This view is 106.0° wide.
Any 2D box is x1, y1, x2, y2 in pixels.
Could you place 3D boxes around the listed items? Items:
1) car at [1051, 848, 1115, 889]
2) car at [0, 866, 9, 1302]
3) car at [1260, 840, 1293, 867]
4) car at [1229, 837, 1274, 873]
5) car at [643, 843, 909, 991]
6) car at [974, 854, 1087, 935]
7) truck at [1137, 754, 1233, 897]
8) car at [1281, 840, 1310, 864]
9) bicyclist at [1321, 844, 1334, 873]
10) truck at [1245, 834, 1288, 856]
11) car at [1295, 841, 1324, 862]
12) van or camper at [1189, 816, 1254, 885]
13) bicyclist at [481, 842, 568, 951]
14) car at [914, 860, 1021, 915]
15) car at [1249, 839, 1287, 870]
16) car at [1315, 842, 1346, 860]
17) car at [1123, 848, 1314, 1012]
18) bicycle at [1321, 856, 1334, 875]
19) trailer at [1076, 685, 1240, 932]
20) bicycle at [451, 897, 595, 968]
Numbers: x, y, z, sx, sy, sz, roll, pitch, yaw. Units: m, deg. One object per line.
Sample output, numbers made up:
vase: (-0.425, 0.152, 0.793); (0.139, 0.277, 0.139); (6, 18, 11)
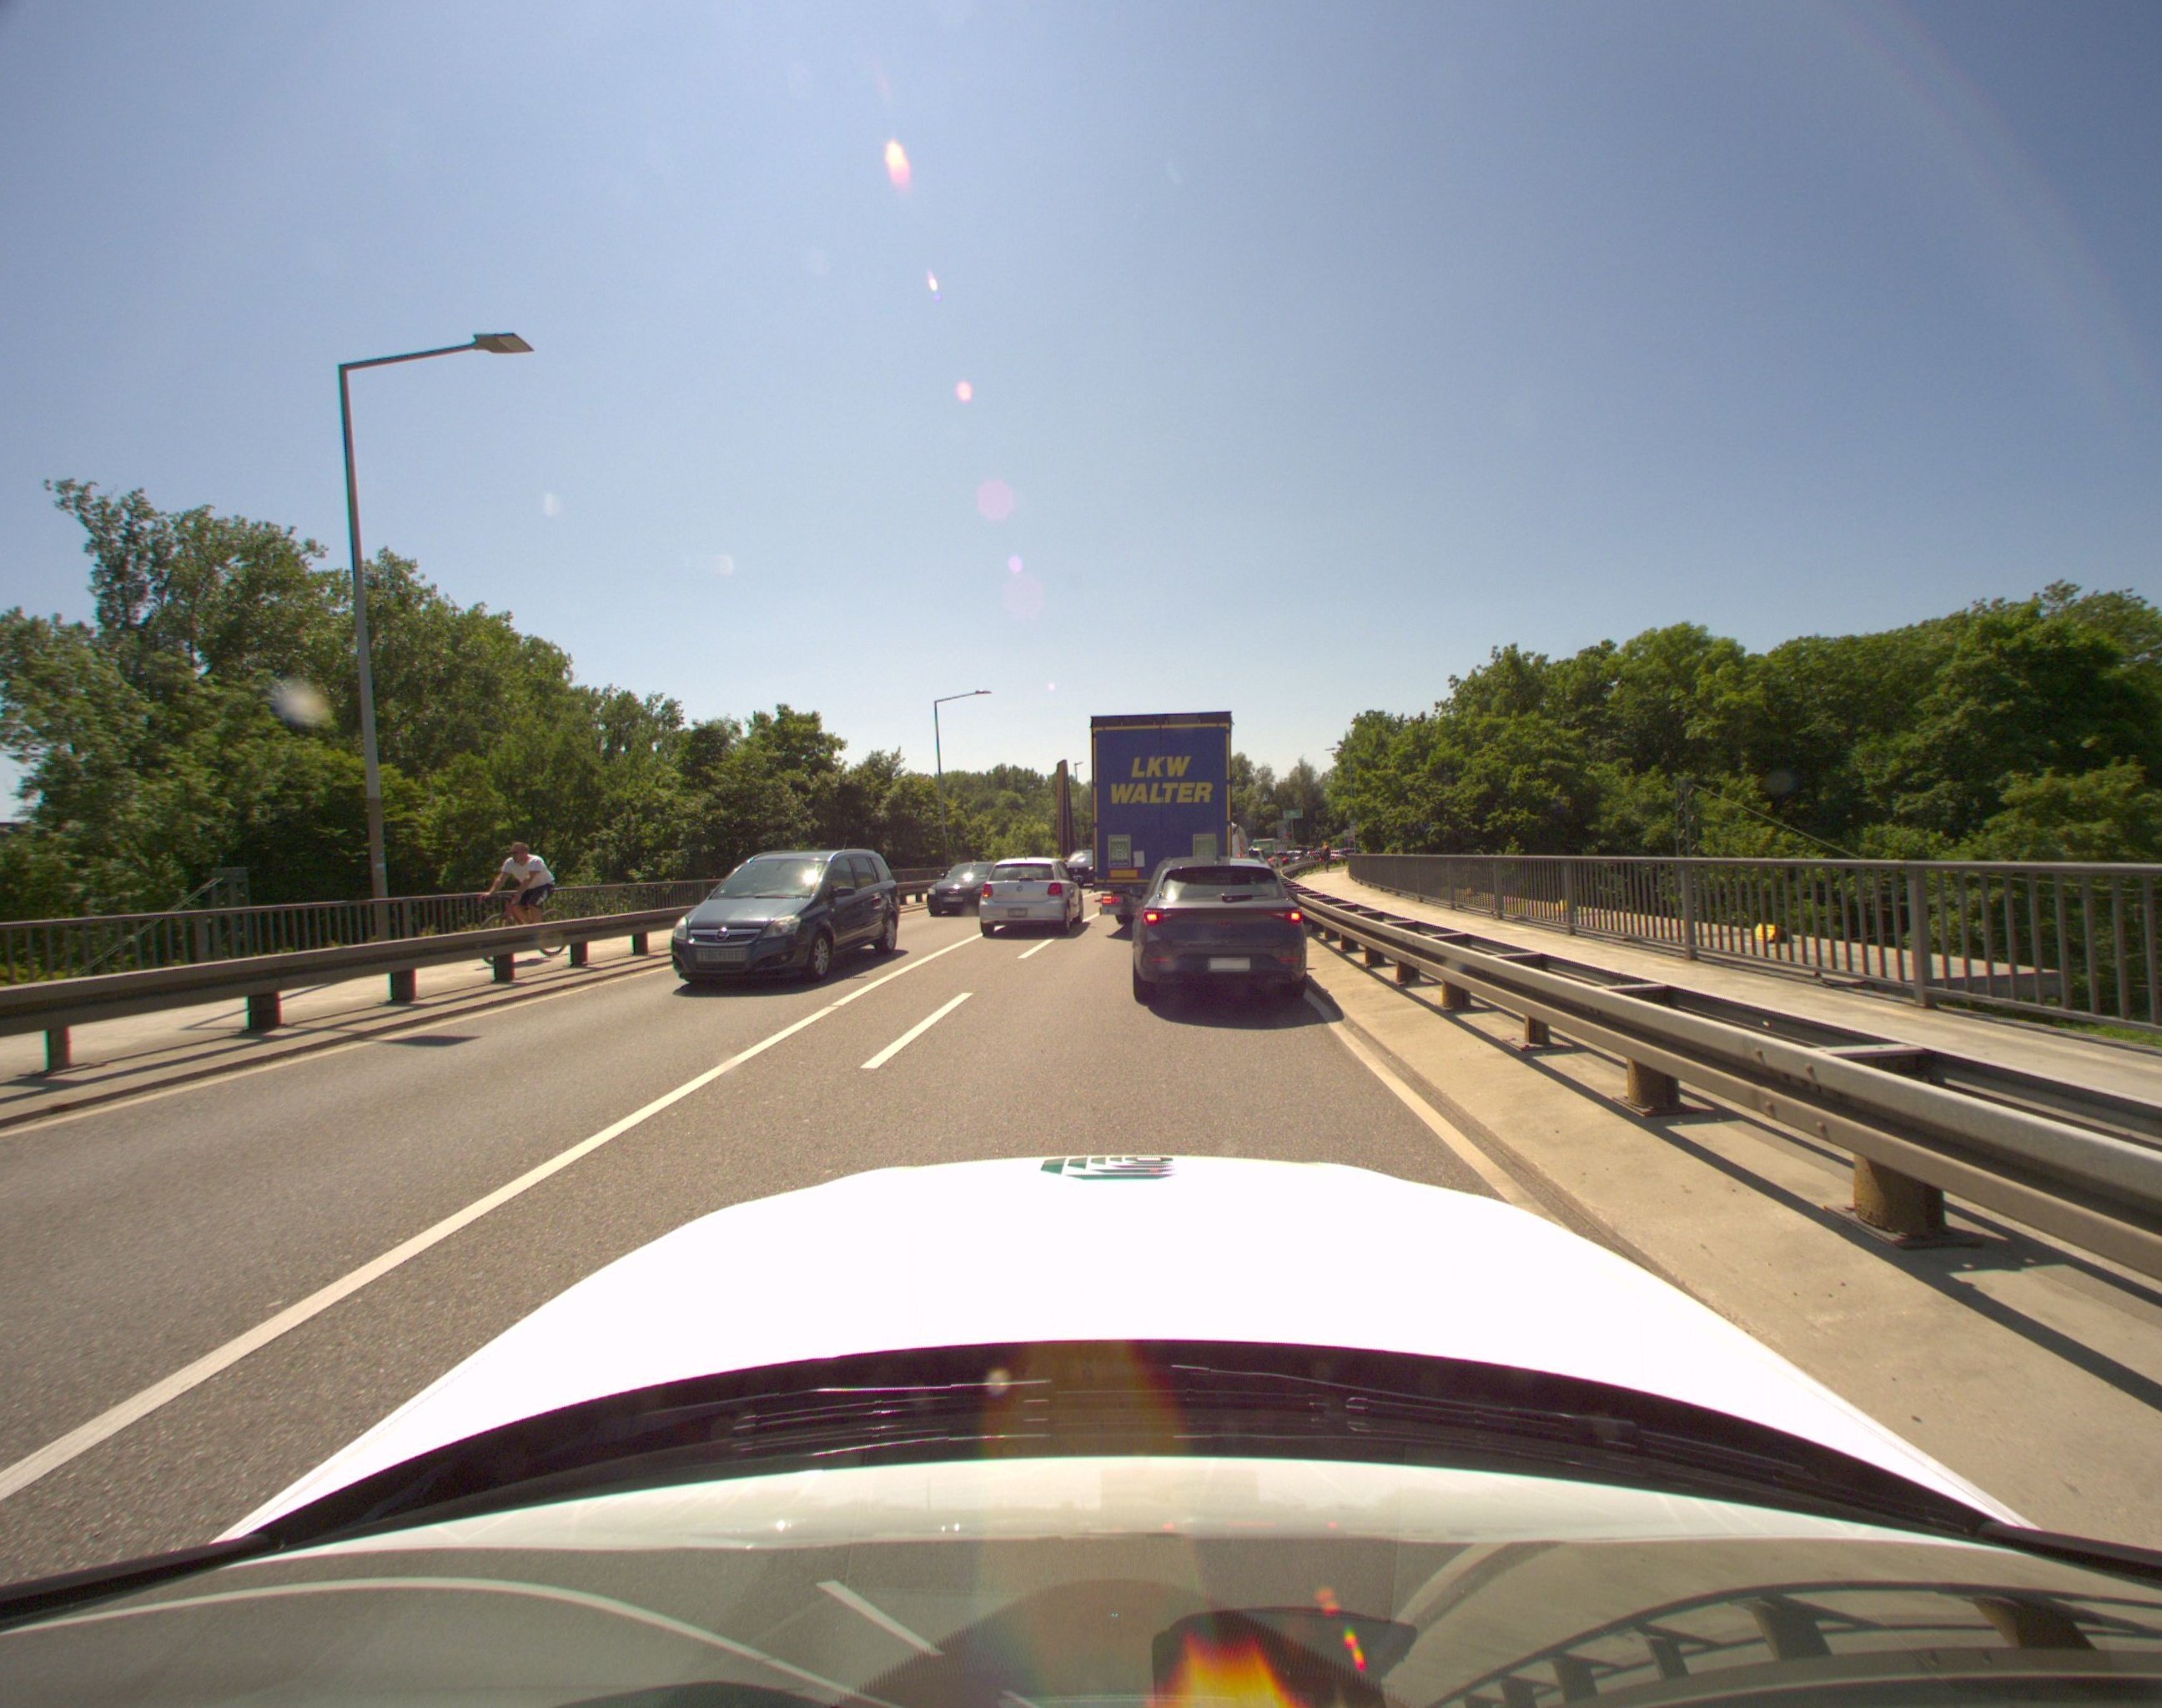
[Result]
car: (0.167, 0.585, 36.753); (1.953, 1.673, 4.628); (-2, 0, 12)
car: (-4.661, 0.747, 0.671); (1.795, 1.641, 4.301); (-2, 0, 1)
car: (14.065, -0.075, 58.423); (1.706, 1.844, 4.022); (-1, 0, 22)
car: (9.253, 0.010, 44.011); (1.706, 1.844, 4.021); (-1, 1, 21)
car: (-3.850, 0.699, 11.172); (1.698, 1.626, 4.259); (-1, 0, 5)
car: (-0.900, 0.744, 16.735); (1.669, 1.411, 3.982); (-1, 0, 6)
truck: (3.847, -0.913, 28.777); (2.886, 4.418, 6.575); (-1, 0, 10)
car: (16.964, -0.190, 64.315); (1.706, 1.844, 4.022); (-1, 0, 22)
bicyclist: (14.725, 0.269, 48.662); (0.574, 1.682, 0.732); (-4, -1, 13)
truck: (25.128, -1.147, 110.635); (2.347, 2.873, 5.888); (-2, 0, -27)
car: (19.906, -0.193, 70.732); (1.670, 1.760, 4.024); (-1, -1, 27)
van or camper: (6.450, -0.153, 36.702); (2.138, 2.815, 6.414); (-1, 0, 16)
bicyclist: (-8.126, 0.603, 11.928); (0.580, 1.521, 0.897); (-2, 0, 5)
car: (-2.985, 0.854, 22.243); (1.667, 1.308, 3.985); (-1, 0, 11)
car: (11.622, 0.017, 50.435); (1.706, 1.802, 4.021); (-1, 0, 21)
car: (23.593, -0.236, 76.851); (1.974, 1.575, 4.024); (0, -1, 30)
car: (1.425, 0.687, 9.324); (1.669, 1.456, 3.965); (-1, 0, 5)
bicycle: (14.762, 0.692, 48.700); (0.578, 1.035, 1.490); (-4, -1, 13)
trailer: (2.452, -0.842, 20.920); (2.886, 4.418, 12.468); (-1, 0, 10)
bicycle: (-8.114, 1.109, 11.972); (0.585, 0.833, 1.994); (-2, 0, 6)
